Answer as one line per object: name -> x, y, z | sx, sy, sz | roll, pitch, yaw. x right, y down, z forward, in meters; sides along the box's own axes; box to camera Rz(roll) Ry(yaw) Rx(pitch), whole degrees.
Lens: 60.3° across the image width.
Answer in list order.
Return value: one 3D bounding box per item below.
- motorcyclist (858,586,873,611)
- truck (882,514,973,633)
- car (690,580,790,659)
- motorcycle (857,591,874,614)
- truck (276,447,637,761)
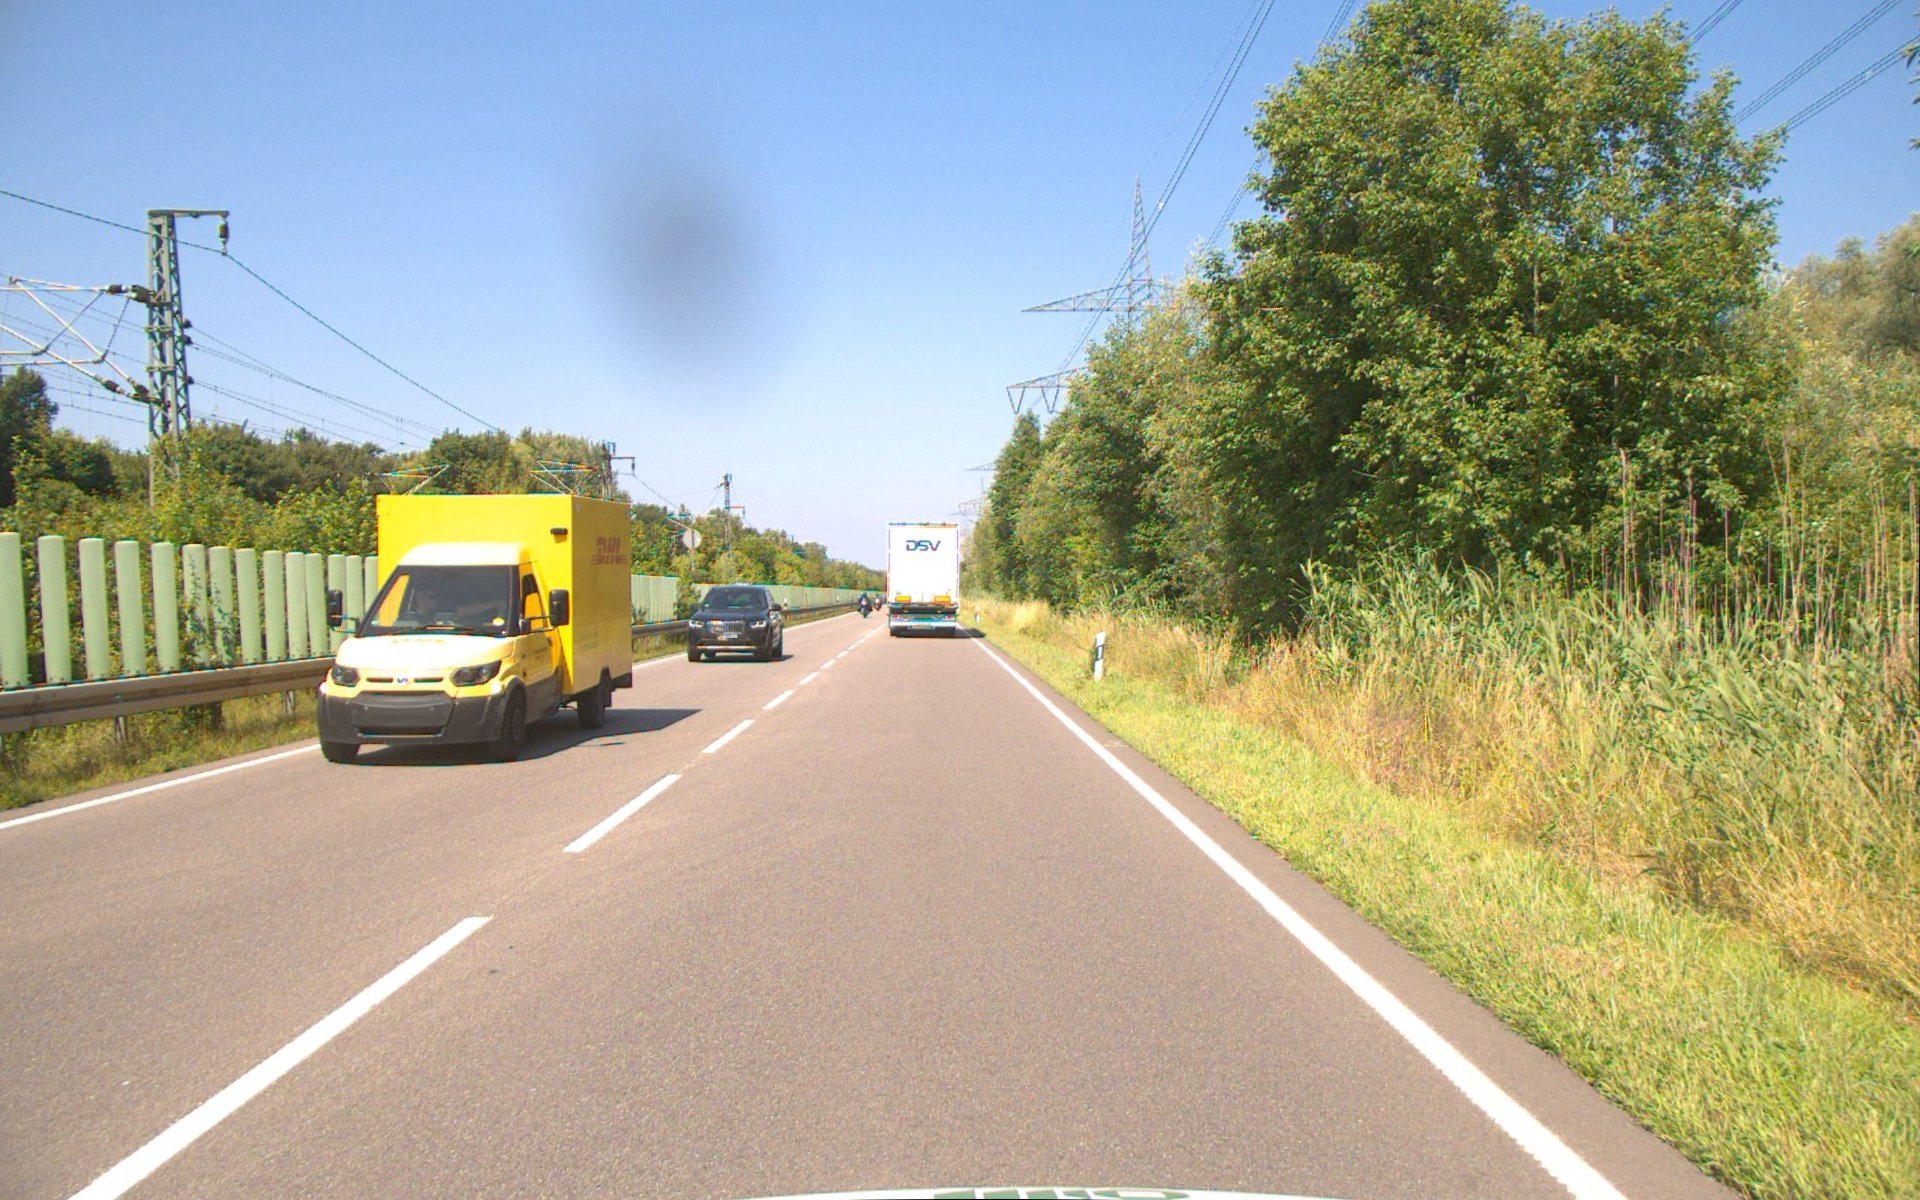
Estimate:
motorcyclist -> -6.374, -0.102, 111.345 | 0.940, 1.638, 1.003 | 1, 0, 0
truck -> -1.302, -0.947, 63.233 | 3.128, 4.113, 12.002 | 0, 0, -2
car -> -5.013, 0.413, 38.207 | 1.777, 1.723, 4.705 | 0, 0, -1
motorcycle -> -6.379, 0.150, 111.704 | 0.948, 1.522, 2.630 | 1, 0, 0
truck -> -4.886, 0.016, 17.076 | 2.038, 2.693, 5.703 | 0, 0, -1
